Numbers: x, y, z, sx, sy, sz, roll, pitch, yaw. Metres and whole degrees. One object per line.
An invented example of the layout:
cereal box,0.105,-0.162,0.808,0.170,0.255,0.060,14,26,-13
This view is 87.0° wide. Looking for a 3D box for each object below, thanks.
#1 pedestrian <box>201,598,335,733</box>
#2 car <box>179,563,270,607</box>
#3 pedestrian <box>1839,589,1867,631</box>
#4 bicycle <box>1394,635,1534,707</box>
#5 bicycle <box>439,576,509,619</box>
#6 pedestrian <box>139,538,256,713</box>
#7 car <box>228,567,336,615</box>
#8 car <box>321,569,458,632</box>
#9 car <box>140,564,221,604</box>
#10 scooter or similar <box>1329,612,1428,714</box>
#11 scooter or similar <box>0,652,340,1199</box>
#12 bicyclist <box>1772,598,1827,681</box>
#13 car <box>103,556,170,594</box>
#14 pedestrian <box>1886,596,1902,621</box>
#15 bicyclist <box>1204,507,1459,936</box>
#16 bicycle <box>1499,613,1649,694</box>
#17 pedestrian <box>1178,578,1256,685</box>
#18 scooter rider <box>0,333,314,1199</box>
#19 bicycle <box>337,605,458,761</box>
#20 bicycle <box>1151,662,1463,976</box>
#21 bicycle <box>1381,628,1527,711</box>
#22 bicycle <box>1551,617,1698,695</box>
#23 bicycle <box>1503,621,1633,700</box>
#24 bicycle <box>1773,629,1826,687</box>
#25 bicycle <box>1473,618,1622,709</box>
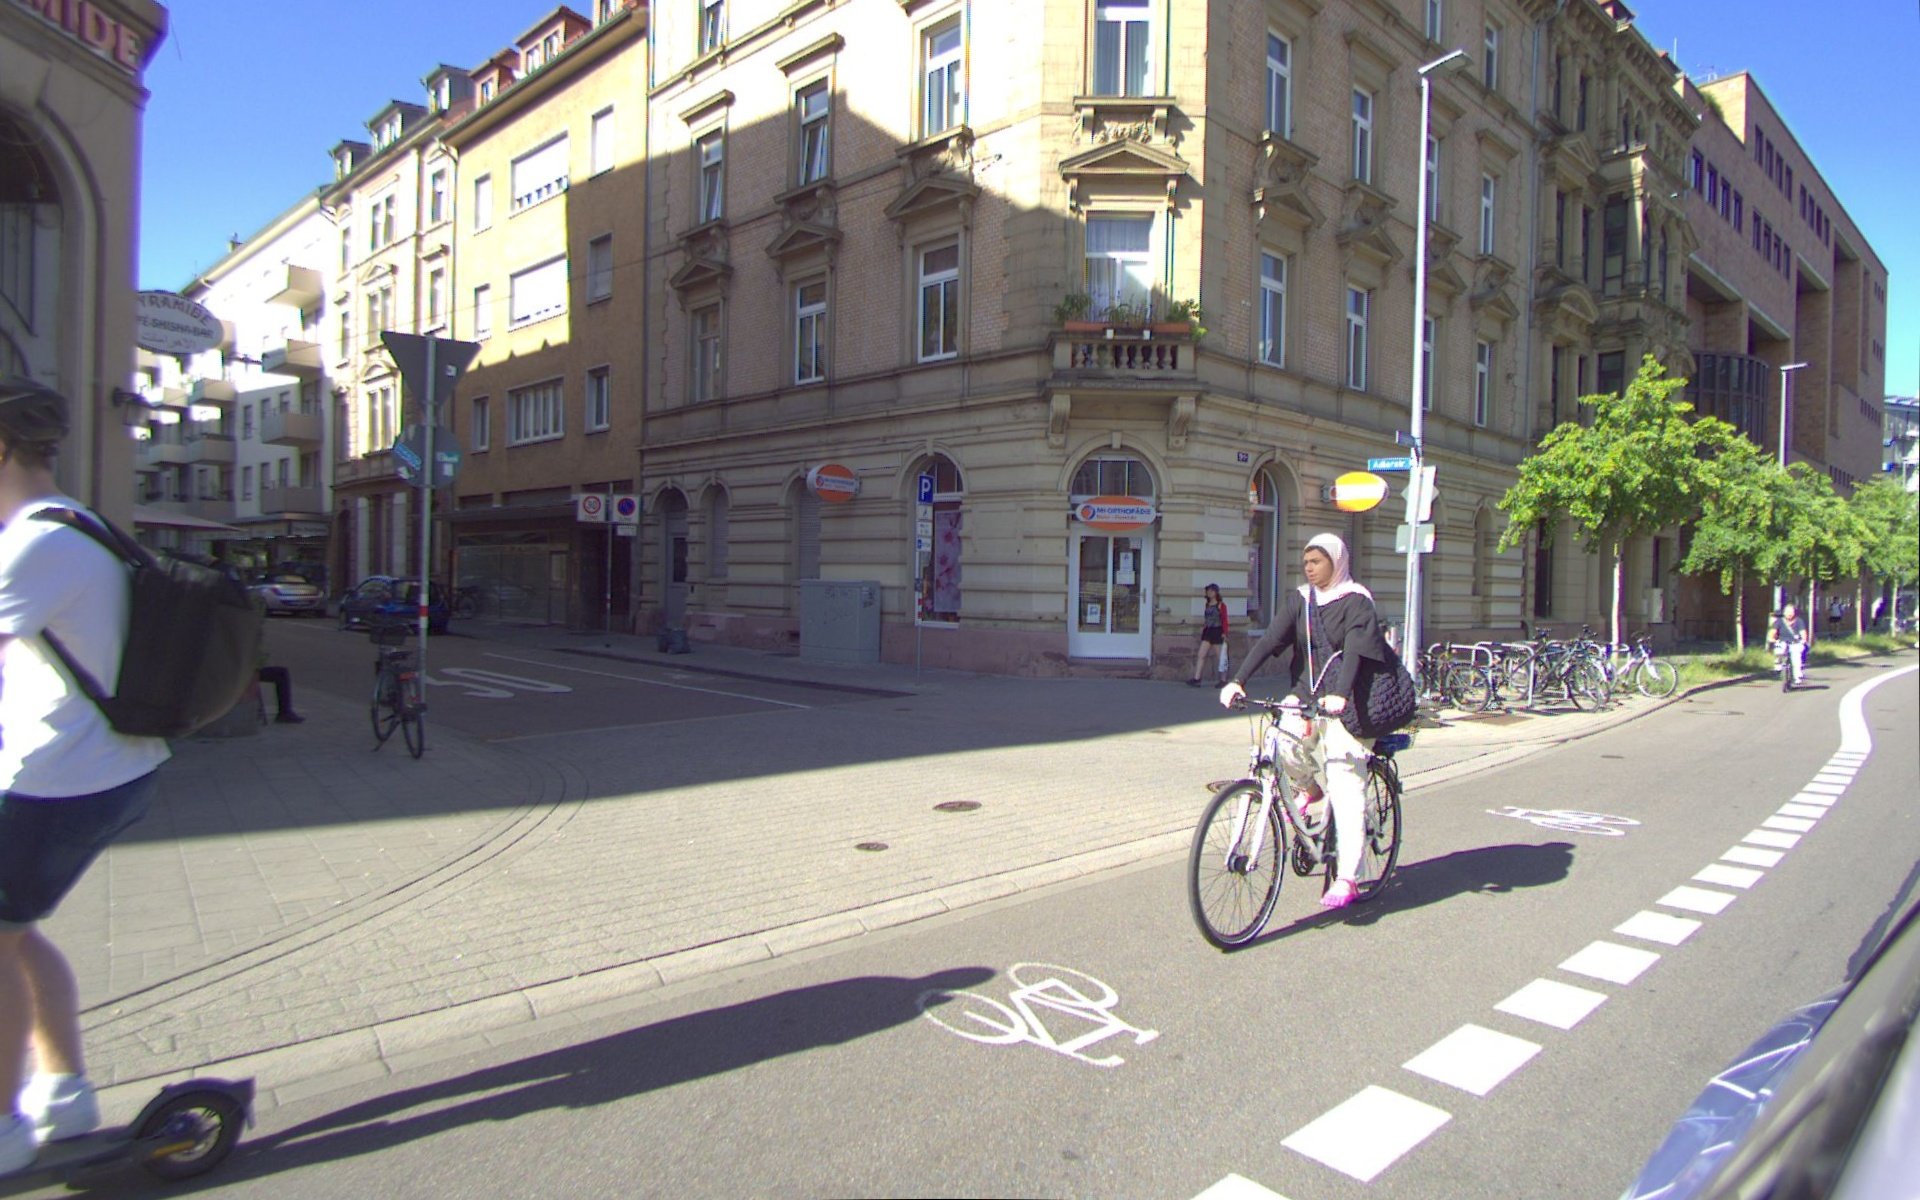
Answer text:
pedestrian,-6.777,0.602,9.911,0.849,1.229,0.920,0,0,43
car,-26.029,-0.545,35.769,3.757,1.450,1.776,2,1,40
pedestrian,41.134,0.465,46.597,1.087,1.906,0.789,0,1,-41
bicycle,7.056,0.967,14.242,0.595,0.831,1.677,1,2,-33
bicycle,-14.305,-0.092,29.768,1.988,1.193,0.629,1,1,19
pedestrian,-8.240,0.253,10.937,0.906,1.783,0.854,0,0,43
car,-21.320,-0.286,31.757,3.983,1.351,1.775,2,-1,40
car,-14.705,-0.005,26.015,3.983,1.438,1.775,2,-1,40
car,-30.104,-0.647,39.058,3.757,1.450,1.776,2,1,40
scooter or similar,5.385,0.781,13.065,0.411,1.204,1.115,1,1,-33
scooter or similar,-2.147,0.768,2.341,1.150,1.242,0.491,0,-1,-41
bicyclist,16.239,0.742,19.575,0.893,1.557,0.658,1,-1,-41
car,-37.551,-1.150,46.118,3.758,1.686,1.775,2,1,42
pedestrian,57.398,0.512,62.170,0.723,1.505,0.633,0,1,-41
bicyclist,1.712,0.493,4.673,0.853,1.733,0.780,1,-1,-41
bicycle,10.290,0.861,17.029,0.697,1.142,2.001,1,3,-39
pedestrian,3.882,0.453,15.303,0.910,1.561,0.711,0,1,-38
scooter rider,-2.090,0.402,2.363,0.885,1.884,0.667,1,-1,-41
bicycle,-5.020,0.685,8.978,0.641,1.186,1.823,5,-1,-36
bicycle,1.655,0.886,4.665,1.761,1.106,0.558,0,-1,-42
bicycle,6.652,0.906,13.705,0.595,0.955,1.677,1,1,-33
bicycle,11.476,0.927,17.507,1.993,1.106,0.835,5,3,40
bicycle,9.532,0.921,15.924,0.595,1.058,1.605,1,3,-37
bicycle,16.214,1.101,19.542,1.481,1.040,0.558,0,-1,-41
bicycle,8.524,0.882,14.748,0.595,1.114,1.729,1,3,-37
